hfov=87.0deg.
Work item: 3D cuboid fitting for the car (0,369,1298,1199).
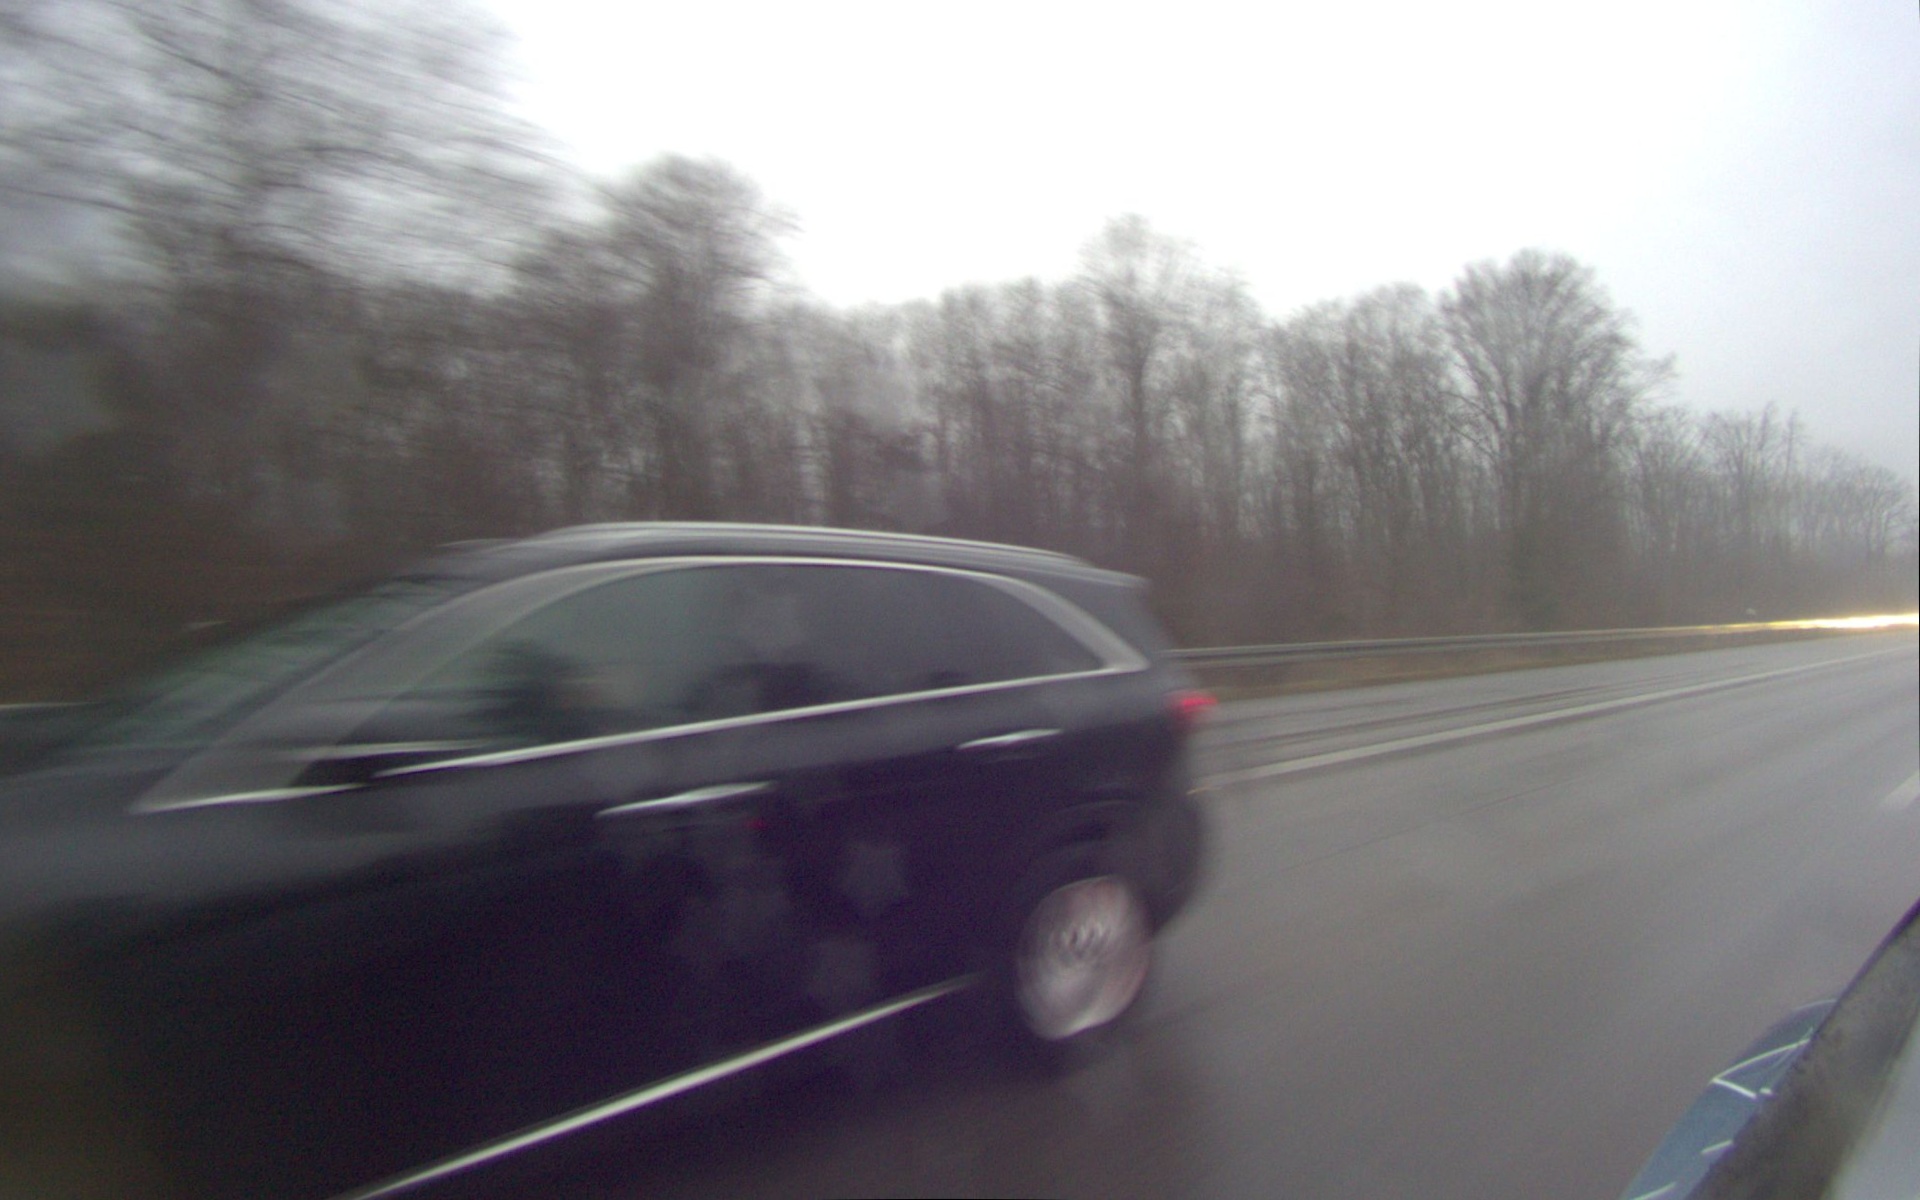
[{"bbox_3d":[-1.045,0.522,3.114,4.384,1.719,2.073,0,0,-42],"label":"car"}]
